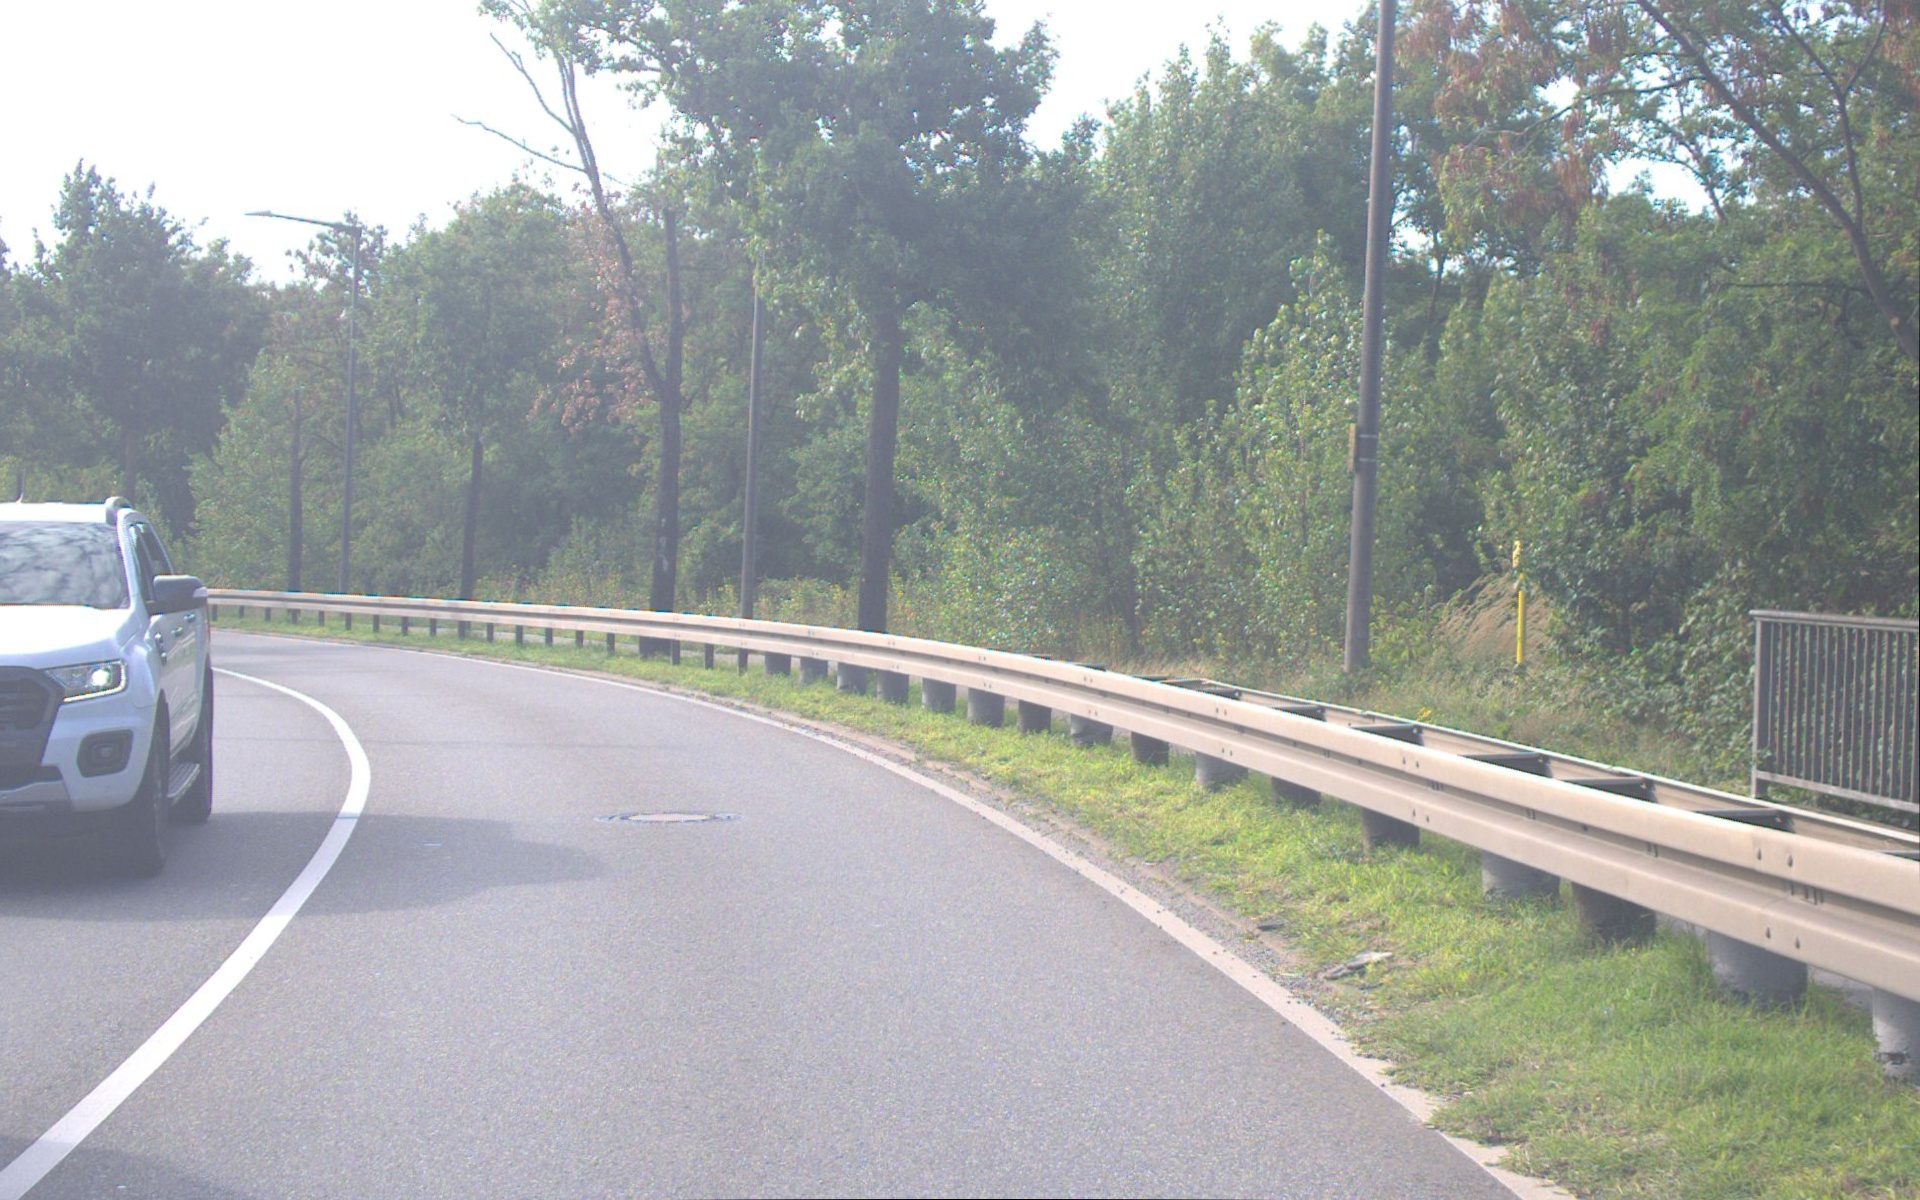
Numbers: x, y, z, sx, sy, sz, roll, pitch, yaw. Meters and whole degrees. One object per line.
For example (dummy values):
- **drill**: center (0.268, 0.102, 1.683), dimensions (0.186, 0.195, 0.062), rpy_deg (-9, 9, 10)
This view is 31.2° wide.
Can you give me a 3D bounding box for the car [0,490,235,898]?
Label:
- **car**: center (-4.918, 0.386, 17.871), dimensions (1.900, 1.804, 5.405), rpy_deg (-1, 1, -8)
